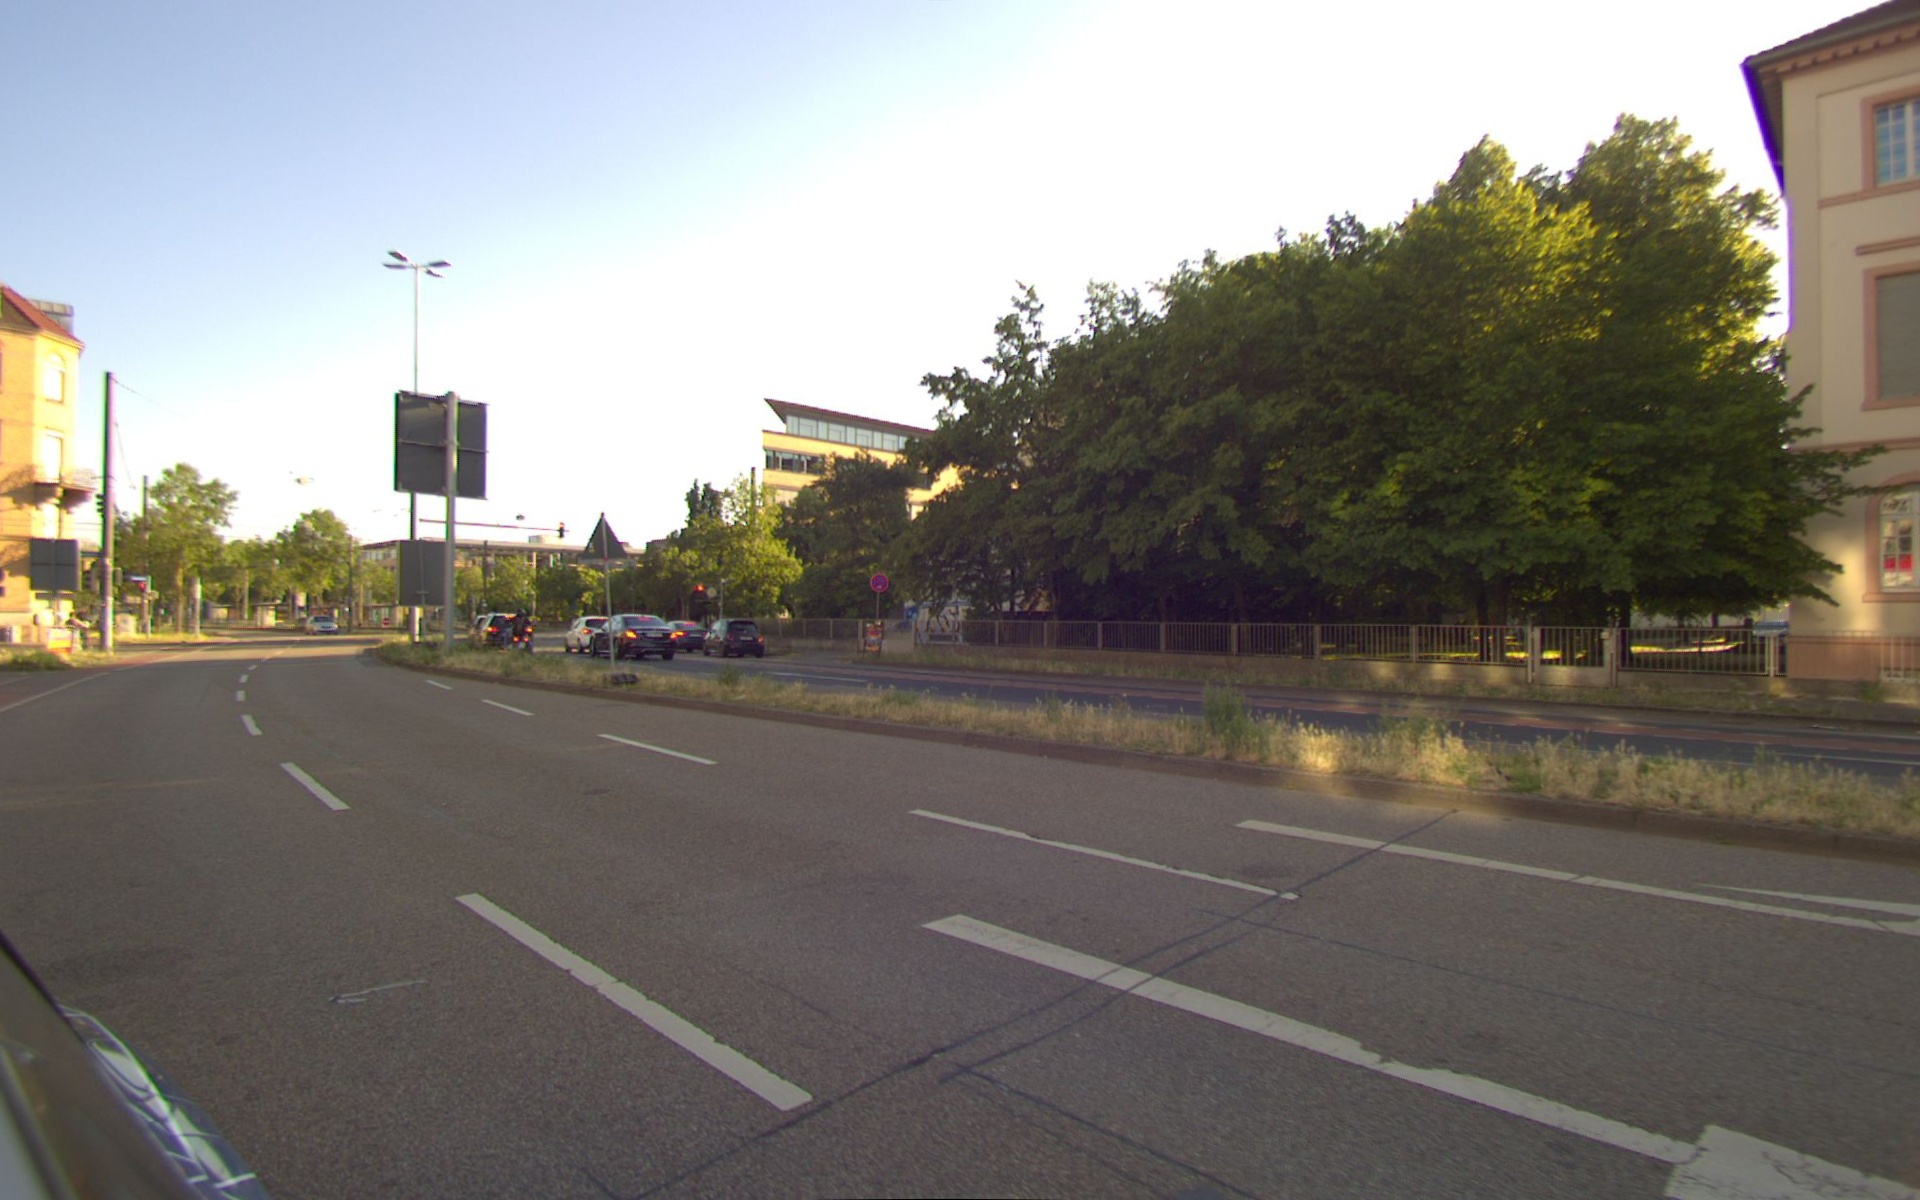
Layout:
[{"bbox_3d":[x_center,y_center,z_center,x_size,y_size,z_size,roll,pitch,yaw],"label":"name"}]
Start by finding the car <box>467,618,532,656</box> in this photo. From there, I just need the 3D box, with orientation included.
[{"bbox_3d":[-16.705,1.300,36.642,1.695,1.306,4.390,1,-2,-30],"label":"car"}]

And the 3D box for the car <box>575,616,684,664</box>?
[{"bbox_3d":[-11.353,1.317,34.494,1.967,1.507,5.304,1,-2,-36],"label":"car"}]

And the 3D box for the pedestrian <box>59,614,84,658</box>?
[{"bbox_3d":[-32.929,1.331,37.509,0.481,1.644,0.527,1,-2,-12],"label":"pedestrian"}]

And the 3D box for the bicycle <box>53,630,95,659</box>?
[{"bbox_3d":[-32.845,1.649,37.544,0.393,1.037,1.676,1,-1,-12],"label":"bicycle"}]

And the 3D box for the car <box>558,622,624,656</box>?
[{"bbox_3d":[-15.092,1.566,41.269,1.695,1.329,3.905,1,-2,-32],"label":"car"}]

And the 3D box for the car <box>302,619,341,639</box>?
[{"bbox_3d":[-52.413,2.377,83.045,1.970,1.586,4.003,2,-2,-44],"label":"car"}]

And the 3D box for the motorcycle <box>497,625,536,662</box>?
[{"bbox_3d":[-14.343,1.385,32.705,0.847,1.116,2.477,1,-2,-30],"label":"motorcycle"}]

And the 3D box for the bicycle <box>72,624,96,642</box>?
[{"bbox_3d":[-51.292,1.912,59.275,1.055,1.032,2.979,1,-2,-41],"label":"bicycle"}]

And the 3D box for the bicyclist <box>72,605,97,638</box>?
[{"bbox_3d":[-51.327,1.258,59.328,1.055,1.856,1.305,1,-2,-40],"label":"bicyclist"}]

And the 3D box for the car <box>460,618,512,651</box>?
[{"bbox_3d":[-19.973,1.420,42.602,1.694,1.306,4.262,1,-2,-29],"label":"car"}]

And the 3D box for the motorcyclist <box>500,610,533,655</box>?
[{"bbox_3d":[-14.329,1.052,32.689,0.840,1.409,1.065,1,-2,-30],"label":"motorcyclist"}]

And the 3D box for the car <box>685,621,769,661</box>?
[{"bbox_3d":[-9.045,1.537,39.072,1.829,1.475,4.010,1,-1,-35],"label":"car"}]

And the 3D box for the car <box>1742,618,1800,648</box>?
[{"bbox_3d":[42.053,1.694,52.473,2.001,1.533,3.634,-1,-2,44],"label":"car"}]

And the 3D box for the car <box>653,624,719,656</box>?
[{"bbox_3d":[-12.084,1.728,44.463,1.695,1.306,3.905,1,-2,-32],"label":"car"}]

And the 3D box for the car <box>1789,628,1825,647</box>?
[{"bbox_3d":[53.210,2.331,63.561,3.055,1.164,1.350,2,-2,-43],"label":"car"}]
